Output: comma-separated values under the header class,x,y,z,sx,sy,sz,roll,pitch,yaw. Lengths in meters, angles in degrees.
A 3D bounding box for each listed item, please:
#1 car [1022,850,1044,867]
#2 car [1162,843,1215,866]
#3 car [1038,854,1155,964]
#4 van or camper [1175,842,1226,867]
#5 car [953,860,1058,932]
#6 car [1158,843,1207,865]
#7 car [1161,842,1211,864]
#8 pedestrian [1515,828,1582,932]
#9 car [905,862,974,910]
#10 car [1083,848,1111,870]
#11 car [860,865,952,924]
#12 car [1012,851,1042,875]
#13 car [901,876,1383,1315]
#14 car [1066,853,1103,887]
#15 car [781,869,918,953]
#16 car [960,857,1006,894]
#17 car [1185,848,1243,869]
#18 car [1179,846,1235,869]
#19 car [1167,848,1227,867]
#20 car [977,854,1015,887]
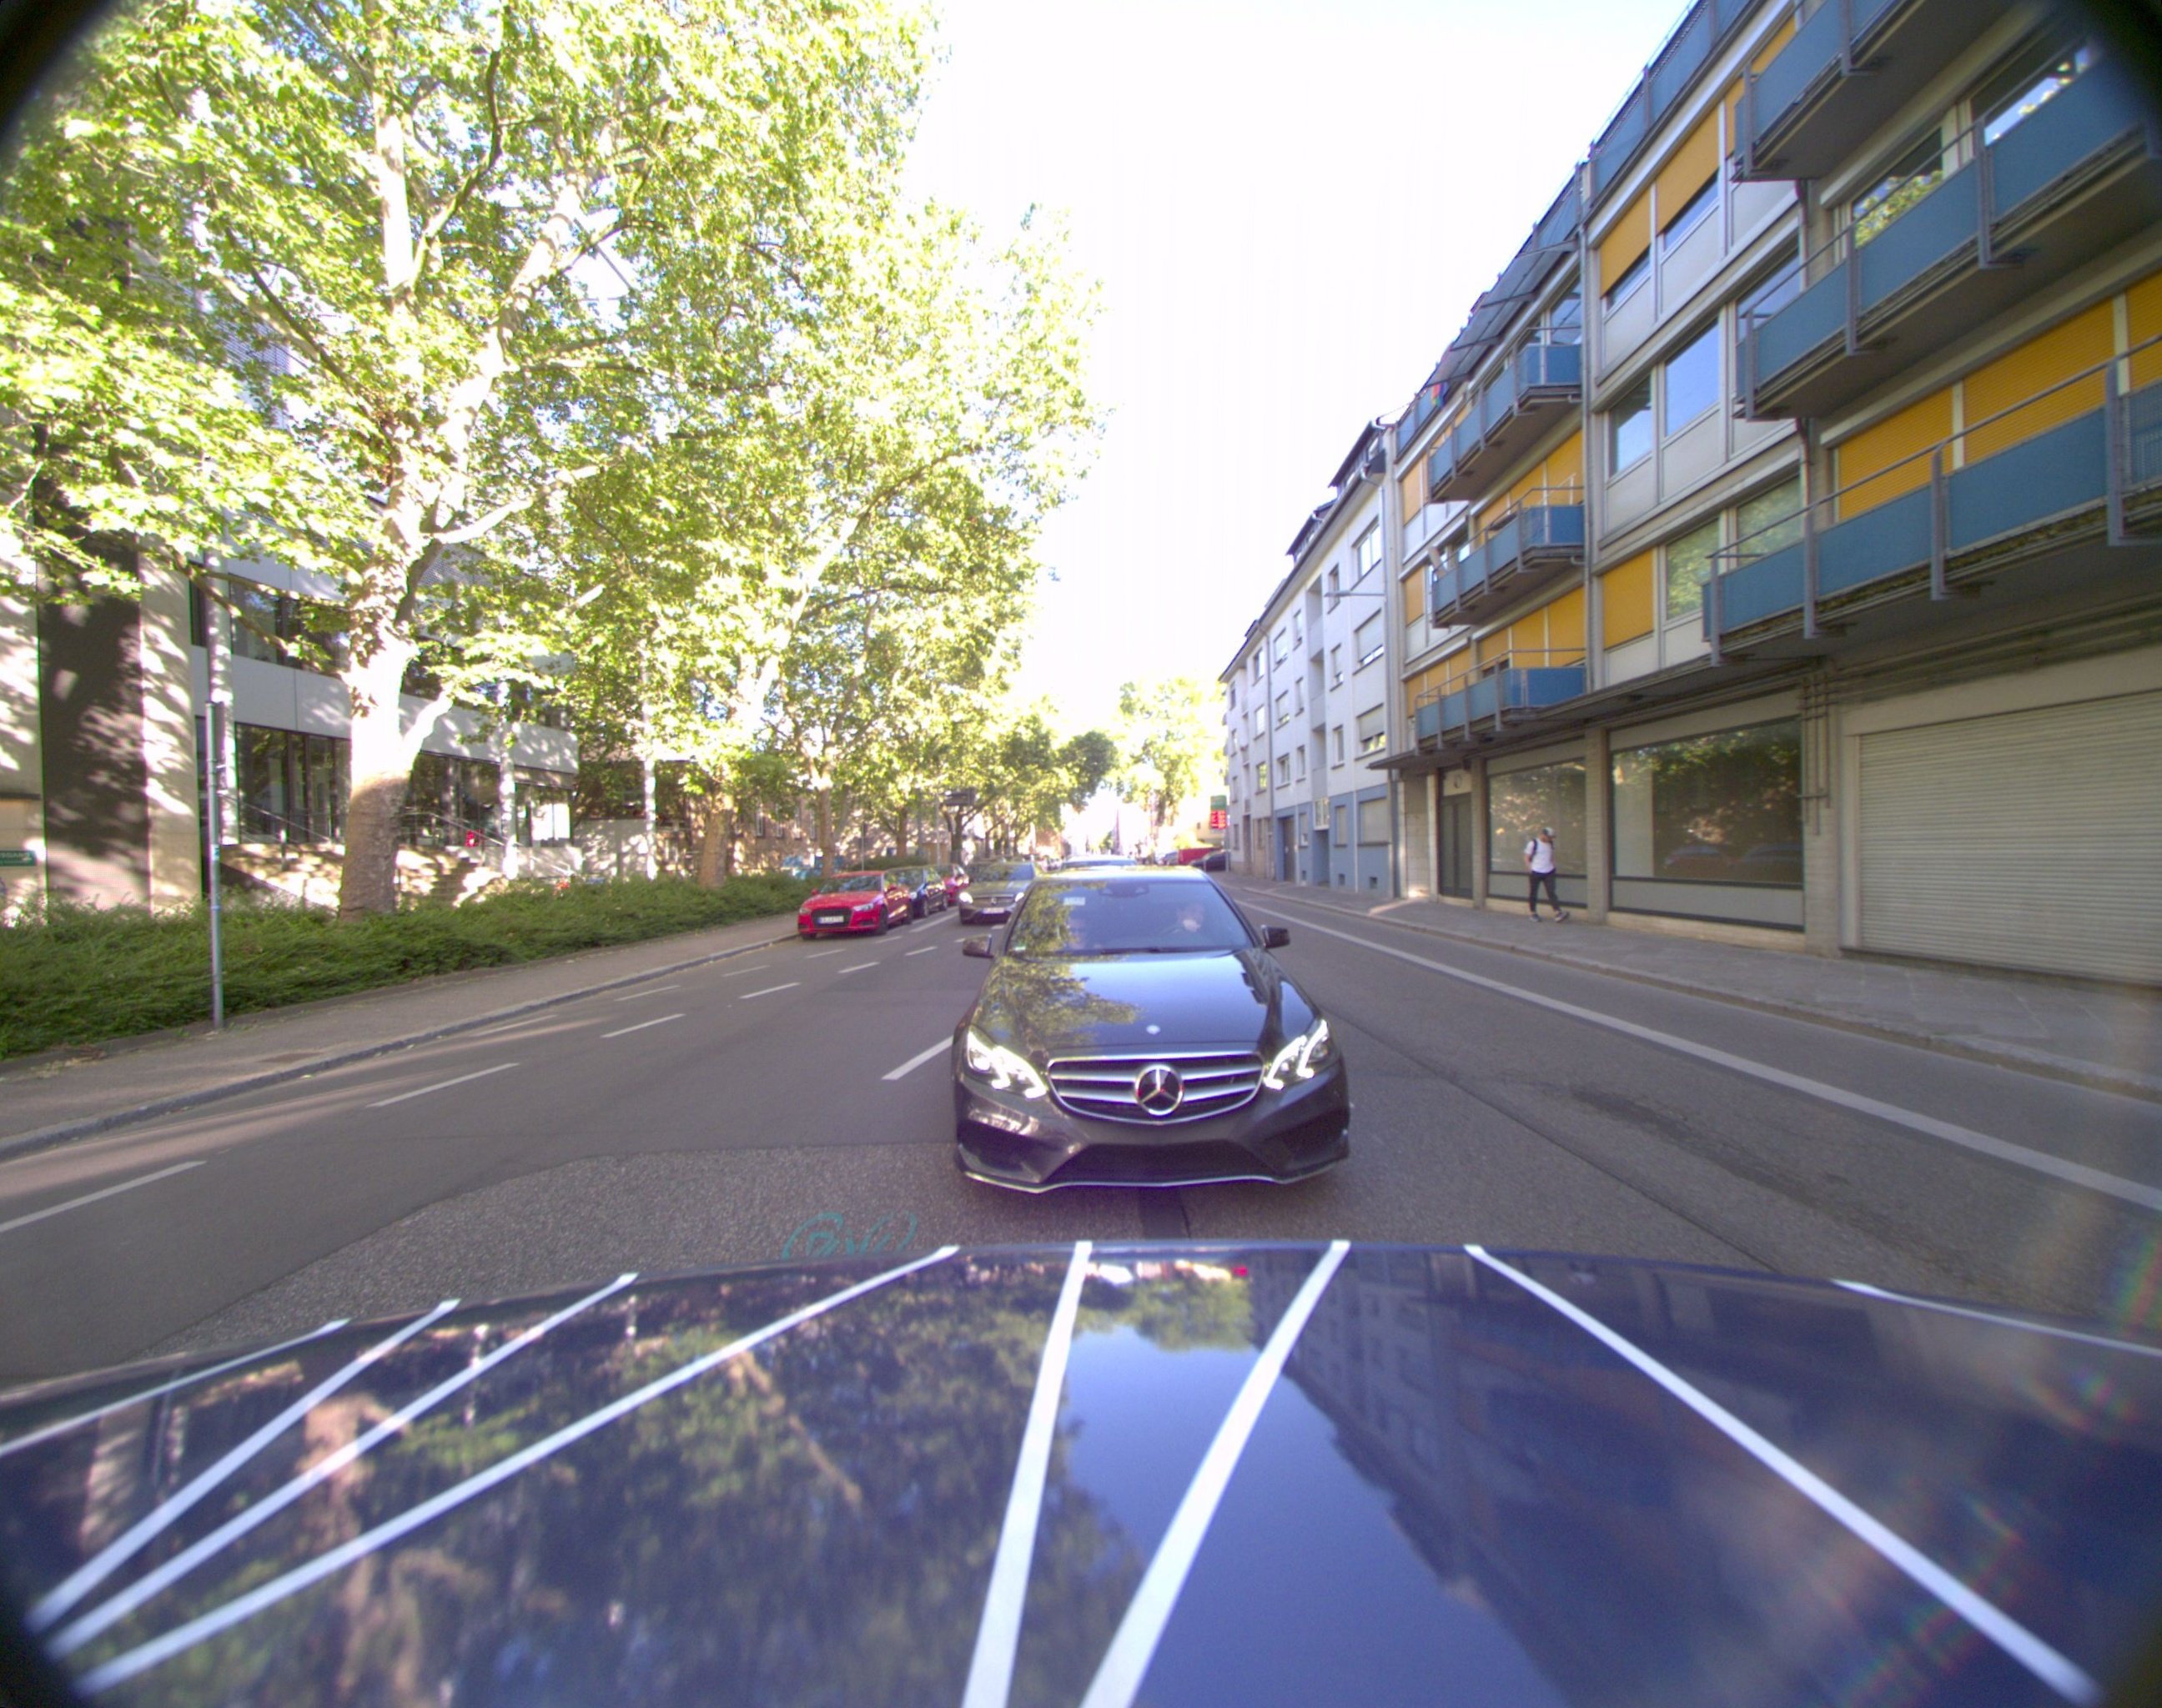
class,x,y,z,sx,sy,sz,roll,pitch,yaw
car,-4.385,0.428,70.444,1.741,1.469,4.091,-2,0,0
car,10.913,0.021,77.338,4.990,2.181,2.000,-2,1,1
car,0.264,0.828,13.641,1.646,1.520,4.619,-4,0,1
van or camper,10.058,0.021,64.198,3.997,2.002,2.000,-2,1,0
car,-1.780,0.969,19.484,1.917,1.456,4.670,-4,0,3
car,11.036,-0.014,82.821,4.990,2.181,2.000,-2,1,1
car,11.033,-0.107,80.190,4.990,2.181,2.000,-2,1,1
pedestrian,8.396,0.448,13.686,0.600,1.790,0.879,-3,1,2
car,-5.052,1.095,27.594,1.681,1.484,3.918,-4,0,0
car,1.447,0.418,66.842,1.784,1.760,4.387,-4,0,9
car,-5.136,1.137,22.797,1.741,1.444,4.091,-4,0,0
car,-4.283,0.711,60.739,1.992,1.795,4.376,-2,0,0
car,0.223,0.946,4.730,1.740,1.448,3.864,-1,0,0
car,0.226,0.773,38.584,1.705,1.593,3.860,-1,0,3
car,-5.198,1.213,17.654,1.830,1.519,4.142,-4,0,0
car,-4.760,1.016,37.391,1.741,1.623,4.091,-2,0,0
car,10.313,0.322,58.960,4.146,1.486,2.000,-2,0,1
car,10.136,0.267,61.291,4.146,1.681,2.000,-2,0,1
car,10.160,0.281,66.701,4.990,1.486,2.000,-2,0,1
car,-4.689,0.882,42.187,1.634,1.677,3.907,-2,0,0
